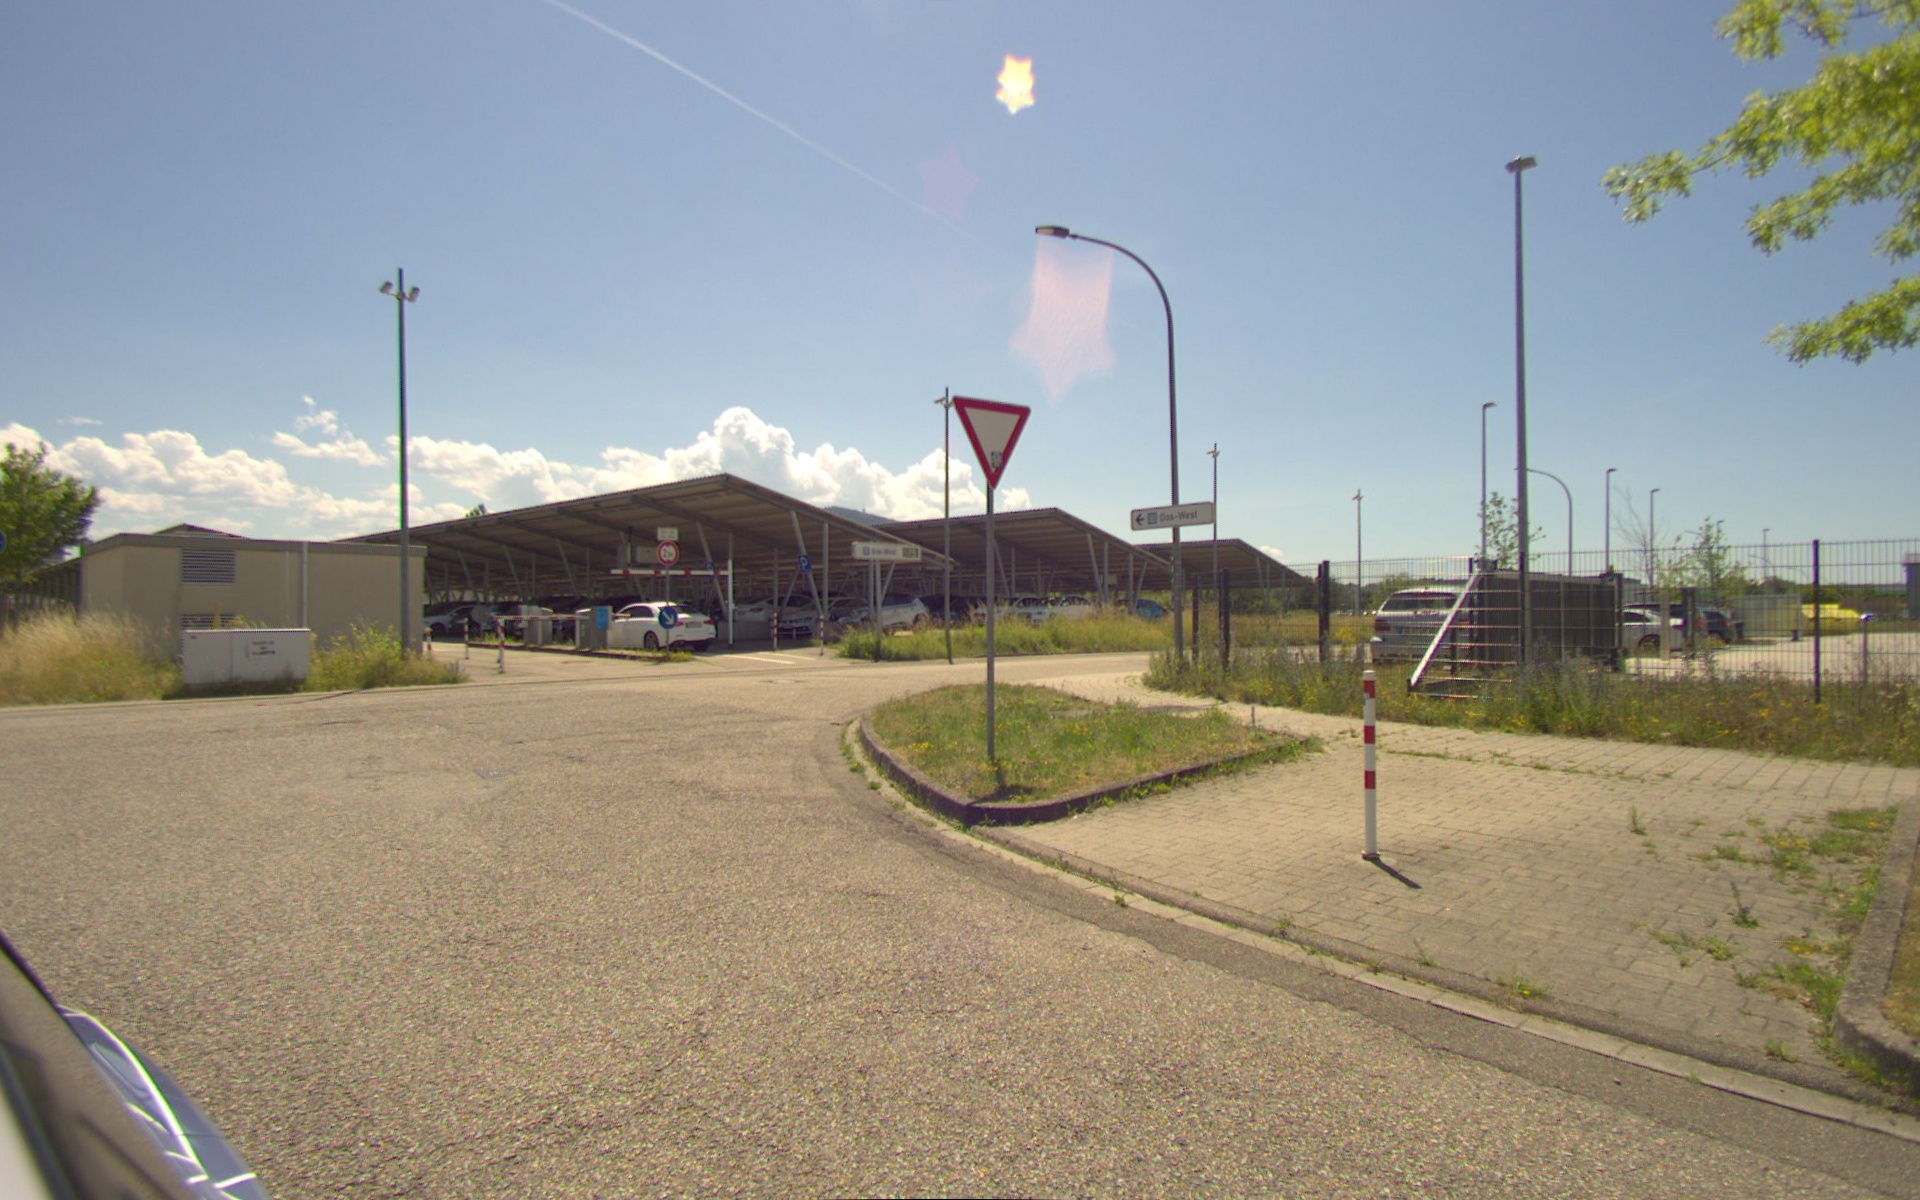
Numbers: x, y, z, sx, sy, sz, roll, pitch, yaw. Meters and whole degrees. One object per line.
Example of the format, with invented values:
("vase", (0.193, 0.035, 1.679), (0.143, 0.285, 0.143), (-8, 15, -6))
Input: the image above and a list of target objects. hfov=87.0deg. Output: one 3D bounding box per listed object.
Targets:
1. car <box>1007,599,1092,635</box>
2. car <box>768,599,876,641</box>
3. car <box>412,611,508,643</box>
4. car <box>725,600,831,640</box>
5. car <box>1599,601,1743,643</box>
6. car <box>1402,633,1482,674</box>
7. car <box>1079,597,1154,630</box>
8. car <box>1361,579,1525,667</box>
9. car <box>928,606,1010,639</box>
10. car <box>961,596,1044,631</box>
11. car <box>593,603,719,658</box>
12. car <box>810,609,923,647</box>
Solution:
("car", (3.834, 0.721, 42.784), (1.723, 1.447, 3.724), (-1, -2, 41))
("car", (-4.995, 0.724, 36.964), (1.723, 1.447, 3.724), (-1, -2, 41))
("car", (-23.461, 1.236, 47.572), (1.723, 1.447, 3.724), (-1, -2, 41))
("car", (-6.920, 0.750, 38.735), (1.723, 1.447, 3.724), (-1, -2, 41))
("car", (27.784, 0.858, 39.642), (4.406, 1.526, 1.675), (-1, -1, 45))
("car", (18.343, 1.988, 38.446), (1.697, 1.387, 3.944), (-1, -1, 42))
("car", (7.286, 0.628, 47.016), (1.723, 1.447, 3.724), (-1, -2, 41))
("car", (9.050, 0.415, 18.846), (1.724, 1.475, 3.628), (-2, -2, 43))
("car", (0.437, 1.028, 46.197), (1.723, 1.447, 3.724), (-1, -2, 41))
("car", (1.912, 0.606, 44.730), (1.723, 1.447, 3.724), (-1, -2, 41))
("car", (-8.672, 0.855, 28.737), (3.774, 1.447, 1.700), (-1, -2, 41))
("car", (-3.179, 0.939, 34.939), (1.723, 1.237, 3.724), (-1, -2, 41))
